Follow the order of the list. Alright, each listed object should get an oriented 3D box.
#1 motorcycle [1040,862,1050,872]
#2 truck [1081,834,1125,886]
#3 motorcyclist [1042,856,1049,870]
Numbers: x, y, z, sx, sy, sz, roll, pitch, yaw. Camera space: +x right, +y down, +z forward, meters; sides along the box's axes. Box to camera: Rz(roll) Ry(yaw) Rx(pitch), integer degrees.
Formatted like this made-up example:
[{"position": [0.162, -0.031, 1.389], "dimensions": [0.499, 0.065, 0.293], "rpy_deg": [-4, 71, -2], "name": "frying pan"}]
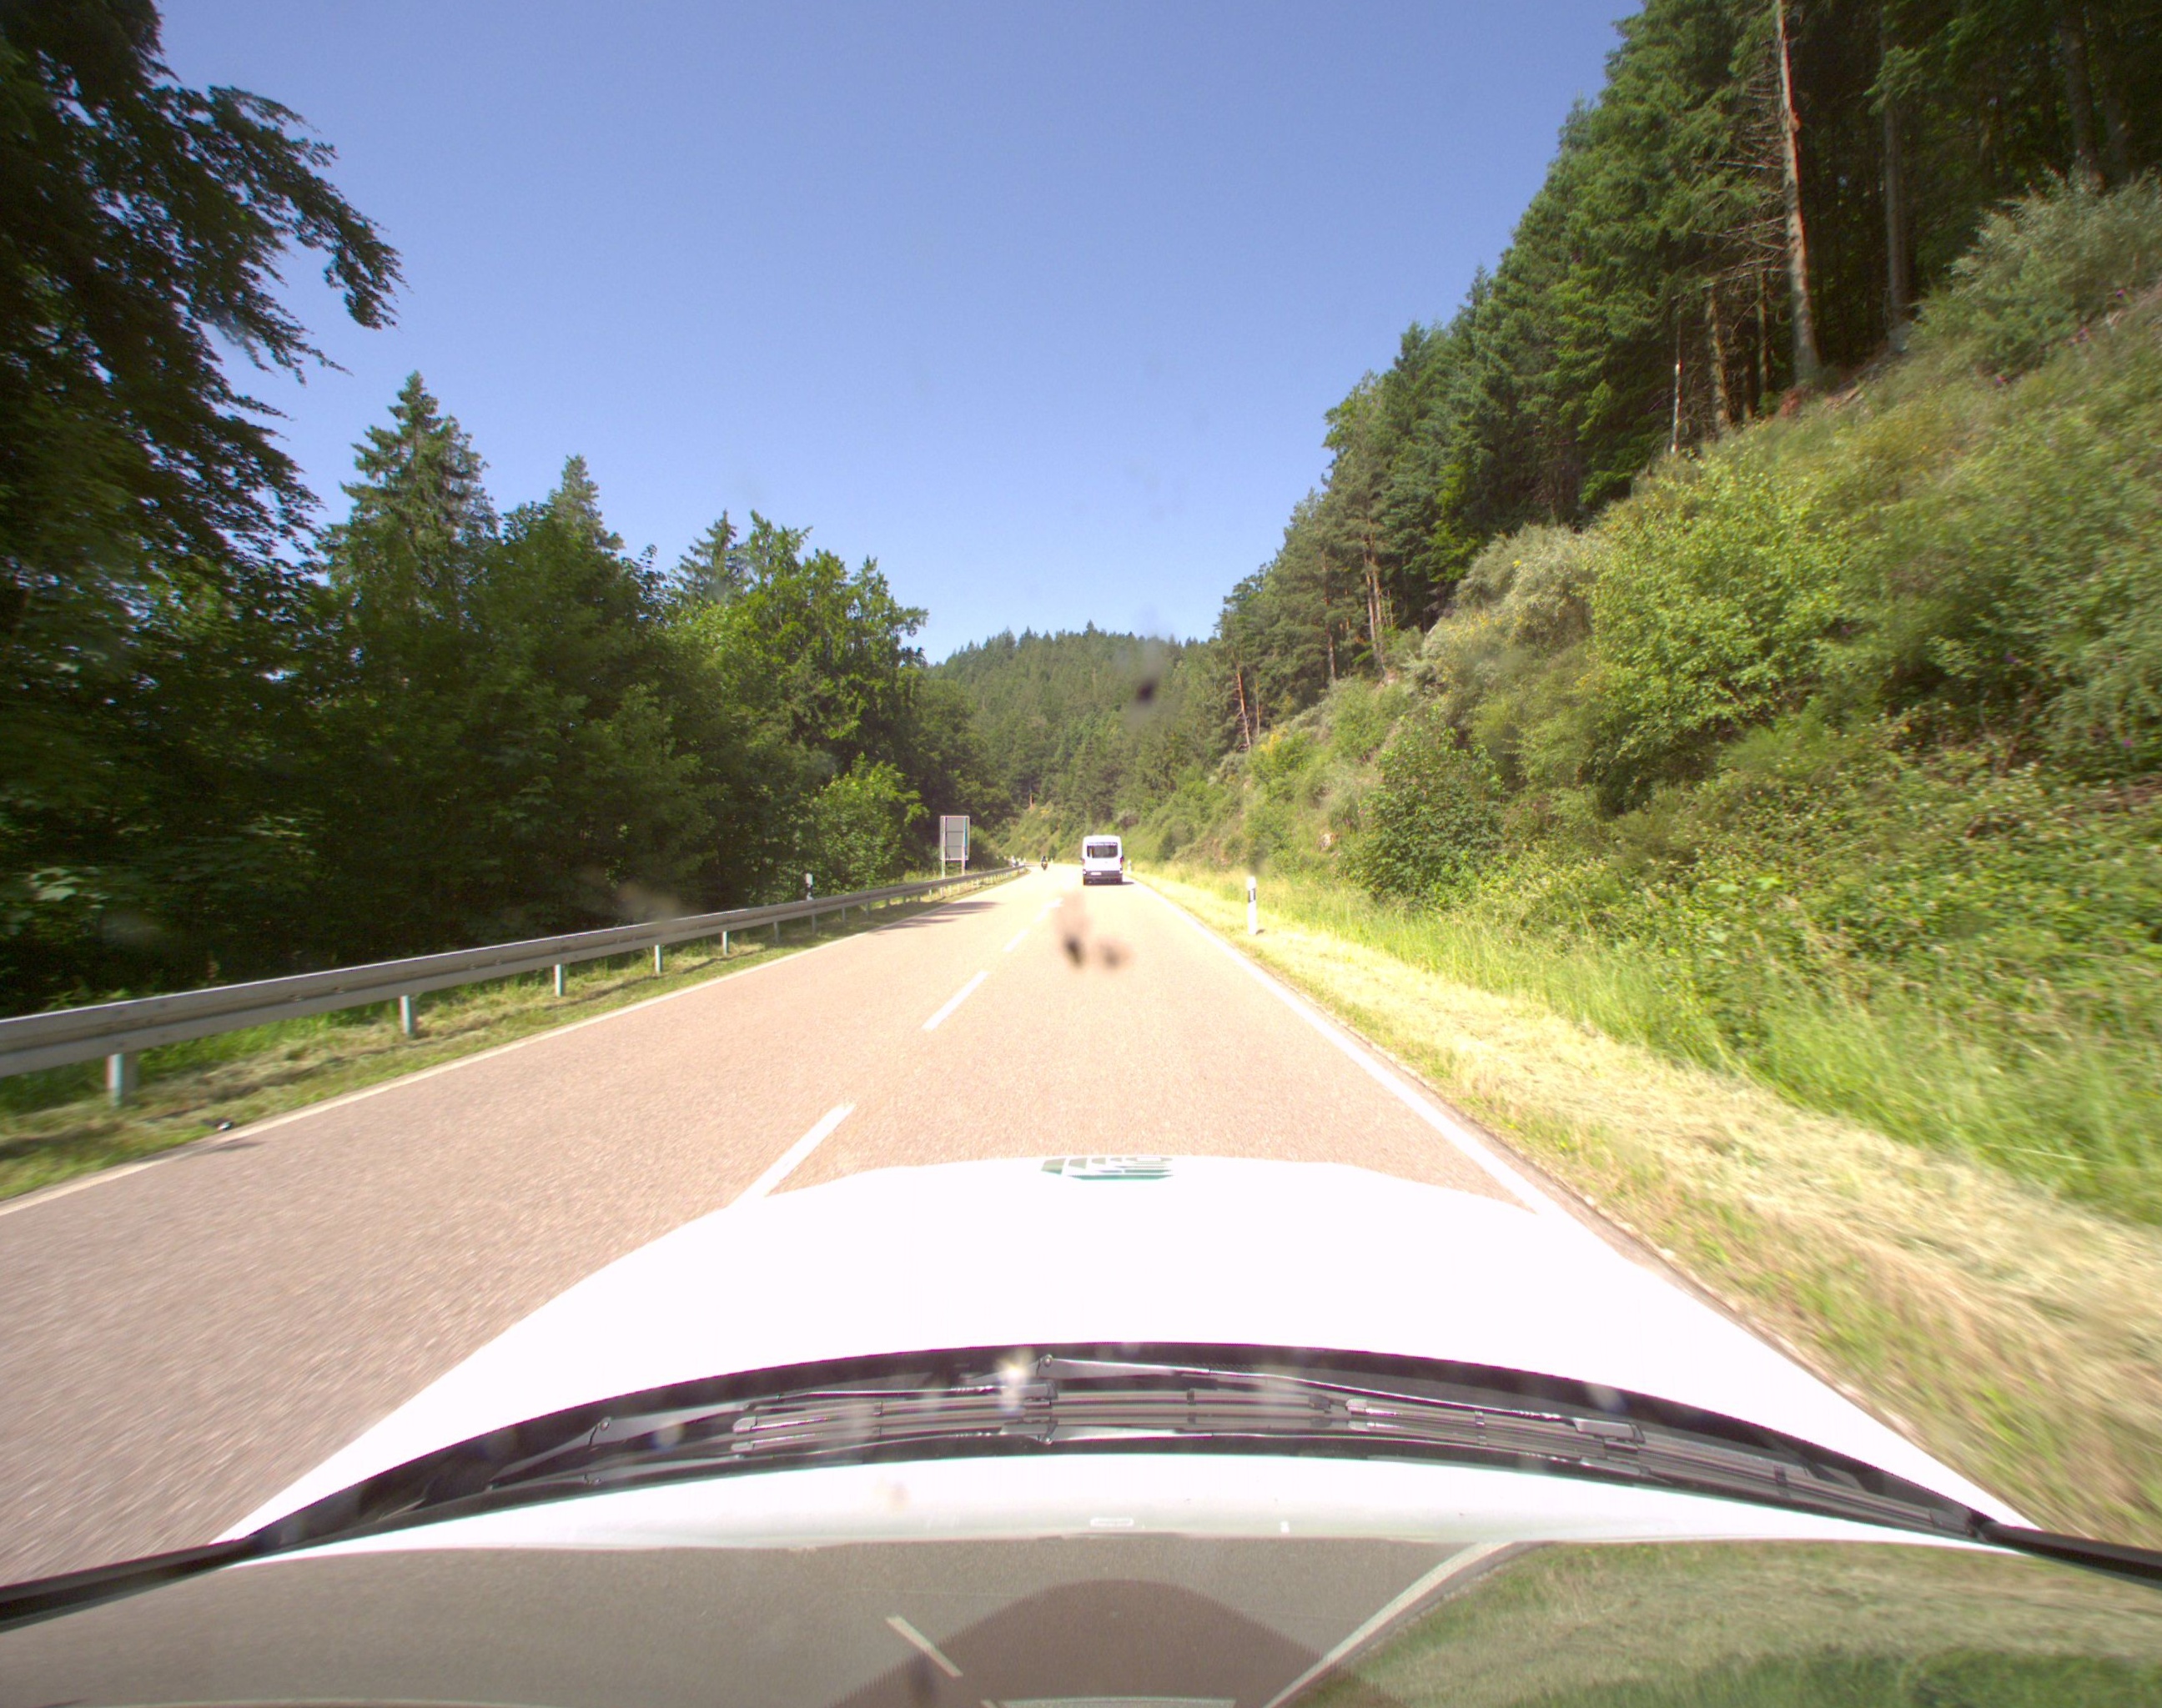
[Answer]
[{"position": [-3.937, 1.464, 89.398], "dimensions": [0.981, 1.071, 1.963], "rpy_deg": [-1, 0, 1], "name": "motorcycle"}, {"position": [1.090, 0.299, 42.536], "dimensions": [2.077, 2.459, 4.874], "rpy_deg": [-2, 0, 0], "name": "truck"}, {"position": [-3.900, 0.990, 89.391], "dimensions": [0.656, 1.513, 0.934], "rpy_deg": [-1, 0, 0], "name": "motorcyclist"}]
